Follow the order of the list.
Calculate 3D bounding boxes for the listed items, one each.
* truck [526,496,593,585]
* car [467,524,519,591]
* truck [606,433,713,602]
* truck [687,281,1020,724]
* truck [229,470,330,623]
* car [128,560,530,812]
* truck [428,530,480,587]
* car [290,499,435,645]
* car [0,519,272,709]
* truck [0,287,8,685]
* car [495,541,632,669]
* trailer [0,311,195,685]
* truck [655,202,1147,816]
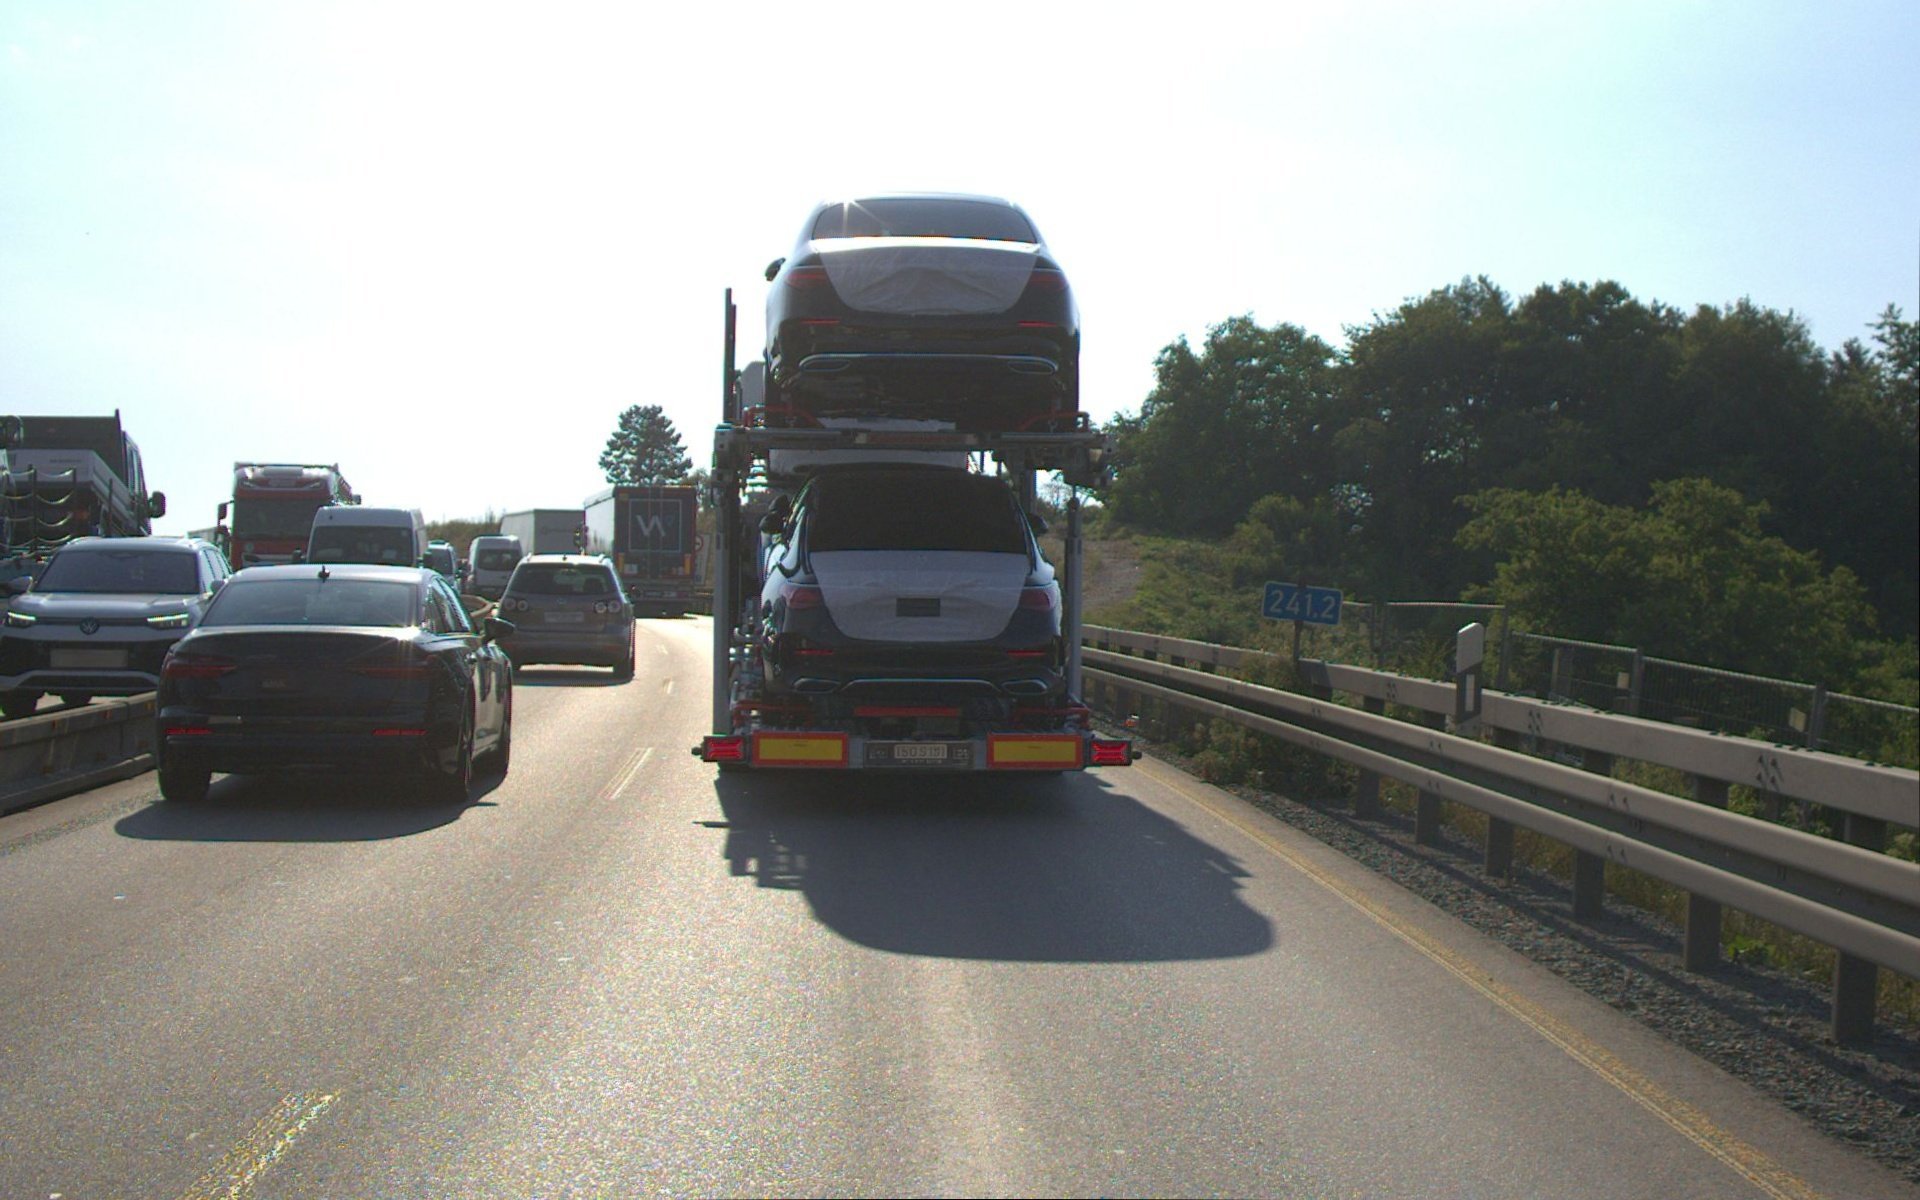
[{"bbox_3d":[-16.882,-2.494,145.279,2.530,3.635,8.907,0,1,-5],"label":"truck"},{"bbox_3d":[-17.748,-1.628,130.661,1.920,2.484,5.410,0,1,-8],"label":"car"},{"bbox_3d":[-9.729,-2.597,111.456,3.285,5.219,9.937,0,1,-5],"label":"truck"},{"bbox_3d":[-1.089,-0.886,34.407,2.838,3.779,9.988,0,1,-2],"label":"truck"},{"bbox_3d":[-17.110,-1.334,86.945,2.313,3.595,11.975,0,1,-10],"label":"truck"},{"bbox_3d":[-3.946,0.470,22.300,1.934,1.394,4.961,0,1,-3],"label":"car"},{"bbox_3d":[-28.558,-2.320,194.088,2.590,3.159,6.678,0,1,-6],"label":"truck"},{"bbox_3d":[-10.626,-0.514,61.510,2.104,2.474,6.068,0,1,-6],"label":"car"},{"bbox_3d":[-7.856,0.100,32.831,1.870,1.688,4.597,0,1,-3],"label":"car"},{"bbox_3d":[-10.860,-1.129,32.366,2.503,4.052,5.885,0,1,-4],"label":"truck"},{"bbox_3d":[-5.193,0.042,44.815,1.691,1.590,4.001,0,1,-7],"label":"car"},{"bbox_3d":[-11.614,-1.118,40.748,2.694,3.859,15.393,0,1,-4],"label":"trailer"},{"bbox_3d":[-0.639,-0.574,24.896,2.799,3.485,10.607,0,1,-3],"label":"truck"}]
